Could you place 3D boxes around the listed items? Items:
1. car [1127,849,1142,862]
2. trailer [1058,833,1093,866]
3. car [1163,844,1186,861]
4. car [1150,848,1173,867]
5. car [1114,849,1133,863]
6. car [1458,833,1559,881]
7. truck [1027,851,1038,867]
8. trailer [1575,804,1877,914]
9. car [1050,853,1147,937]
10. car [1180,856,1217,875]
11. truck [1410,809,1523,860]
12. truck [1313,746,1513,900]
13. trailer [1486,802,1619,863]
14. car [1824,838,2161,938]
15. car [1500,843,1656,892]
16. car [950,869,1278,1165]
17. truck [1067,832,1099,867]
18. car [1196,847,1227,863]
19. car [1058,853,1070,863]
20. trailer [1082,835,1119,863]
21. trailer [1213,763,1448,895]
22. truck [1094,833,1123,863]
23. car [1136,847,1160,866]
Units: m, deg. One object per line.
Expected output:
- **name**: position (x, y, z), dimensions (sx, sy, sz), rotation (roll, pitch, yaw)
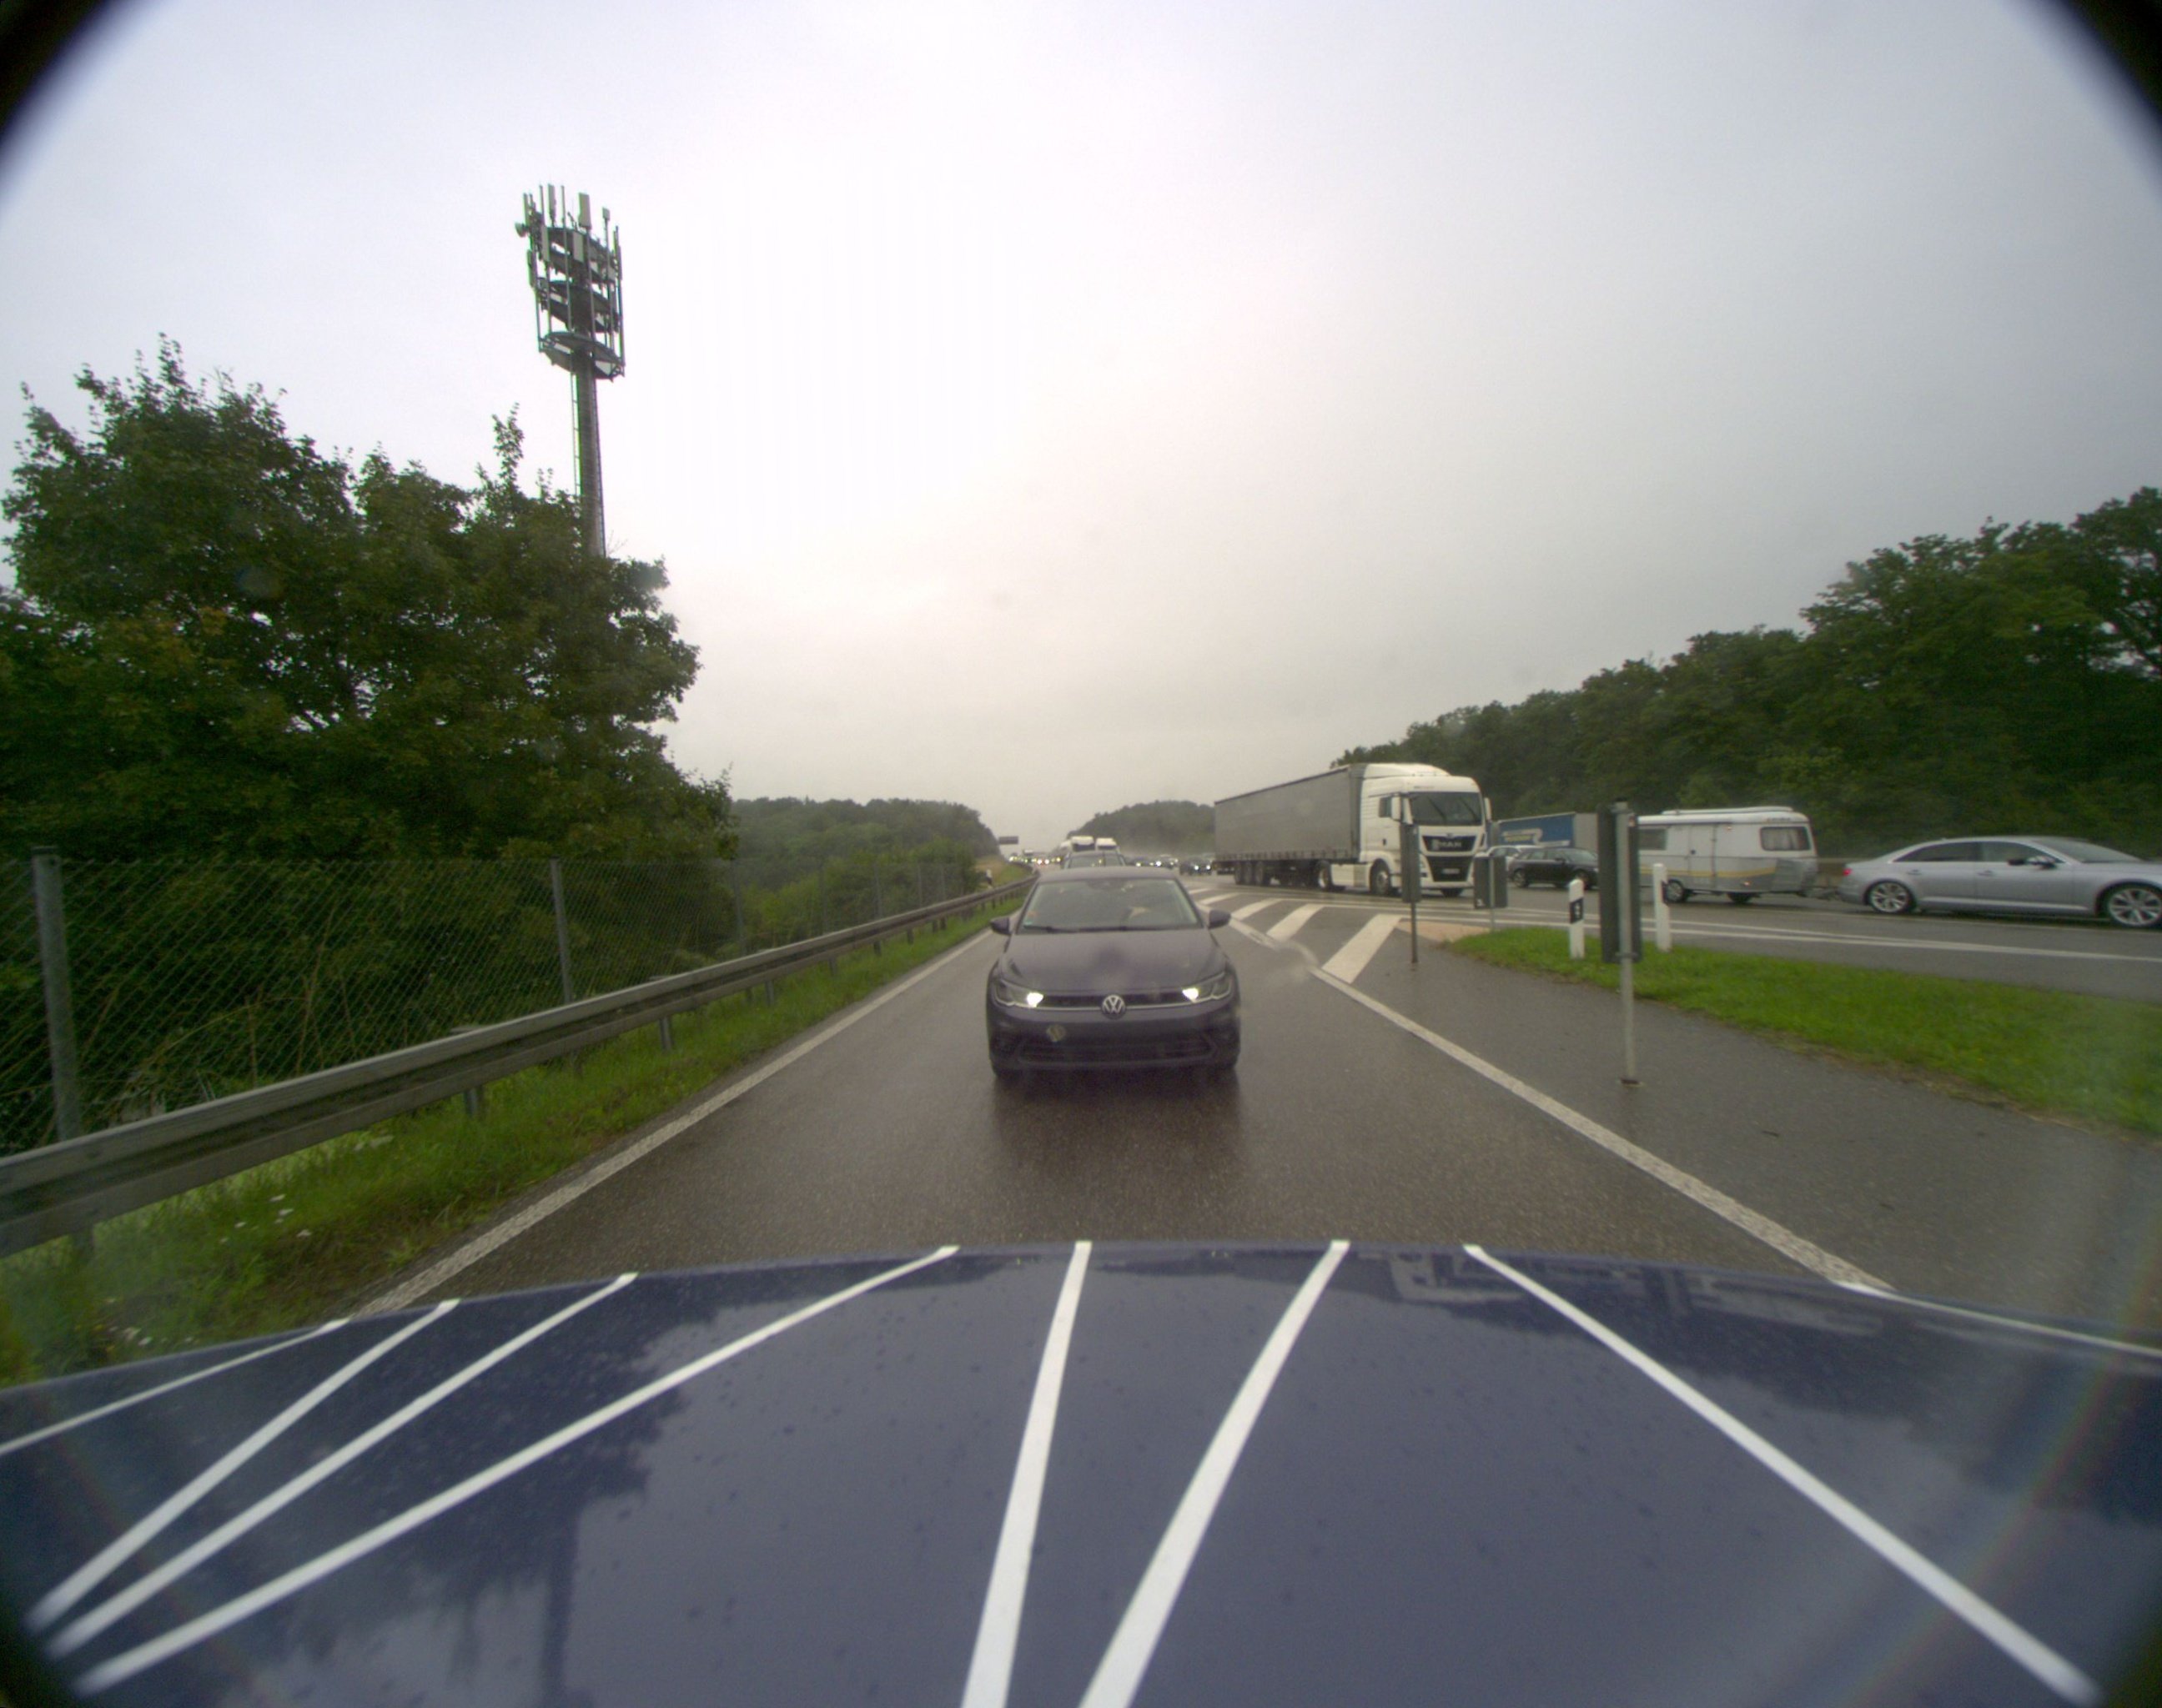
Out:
- **car**: position (8.567, 0.277, 122.427), dimensions (1.999, 2.002, 3.999), rotation (-2, 0, -2)
- **trailer**: position (-0.831, -0.534, 96.831), dimensions (2.771, 4.002, 11.032), rotation (-2, 0, -9)
- **car**: position (12.026, -0.178, 97.998), dimensions (2.000, 2.002, 3.997), rotation (-1, 0, -8)
- **car**: position (8.957, 0.380, 84.614), dimensions (1.862, 2.002, 3.998), rotation (-1, 0, -5)
- **car**: position (6.234, 0.350, 111.436), dimensions (2.000, 2.002, 4.109), rotation (-2, 0, -8)
- **car**: position (19.786, 0.152, 35.404), dimensions (1.942, 2.002, 3.997), rotation (-4, 0, -10)
- **truck**: position (-13.610, 1.478, 215.112), dimensions (2.597, 4.120, 5.230), rotation (-4, 0, -2)
- **trailer**: position (14.474, 0.119, 17.605), dimensions (2.136, 2.143, 5.175), rotation (0, 0, -9)
- **car**: position (0.428, 0.816, 17.194), dimensions (1.810, 1.532, 4.000), rotation (-5, 0, 2)
- **car**: position (8.769, 0.820, 57.065), dimensions (1.823, 1.364, 3.998), rotation (-1, 0, -5)
- **truck**: position (33.694, -1.623, 67.135), dimensions (3.071, 3.957, 10.549), rotation (-5, 1, -9)
- **truck**: position (9.720, -0.785, 23.050), dimensions (2.882, 4.028, 5.930), rotation (0, 0, -8)
- **trailer**: position (35.221, -1.544, 57.335), dimensions (3.100, 4.024, 9.158), rotation (-5, 1, -8)
- **car**: position (15.134, 0.475, 12.060), dimensions (1.852, 1.340, 4.578), rotation (0, 0, -9)
- **car**: position (16.914, 0.416, 26.188), dimensions (2.000, 1.531, 4.525), rotation (-1, 0, -8)
- **car**: position (0.195, 0.931, 6.258), dimensions (1.670, 1.394, 4.261), rotation (-5, 0, 0)
- **truck**: position (0.187, -0.519, 90.181), dimensions (2.759, 3.985, 6.502), rotation (-2, 0, -9)
- **car**: position (13.549, 0.079, 78.950), dimensions (1.824, 1.659, 4.400), rotation (0, 1, -9)
- **car**: position (-3.532, 0.855, 156.029), dimensions (1.927, 1.852, 3.997), rotation (-6, 2, -4)
- **trailer**: position (2.571, -0.678, 107.531), dimensions (2.692, 3.485, 15.115), rotation (-4, 0, -8)
- **trailer**: position (8.793, -0.698, 29.976), dimensions (2.904, 3.959, 14.108), rotation (0, 0, -8)
- **truck**: position (3.537, -0.778, 100.155), dimensions (2.698, 3.635, 5.322), rotation (-4, 1, -8)
- **car**: position (6.776, 0.276, 77.242), dimensions (1.766, 1.892, 3.998), rotation (-1, 0, -5)
